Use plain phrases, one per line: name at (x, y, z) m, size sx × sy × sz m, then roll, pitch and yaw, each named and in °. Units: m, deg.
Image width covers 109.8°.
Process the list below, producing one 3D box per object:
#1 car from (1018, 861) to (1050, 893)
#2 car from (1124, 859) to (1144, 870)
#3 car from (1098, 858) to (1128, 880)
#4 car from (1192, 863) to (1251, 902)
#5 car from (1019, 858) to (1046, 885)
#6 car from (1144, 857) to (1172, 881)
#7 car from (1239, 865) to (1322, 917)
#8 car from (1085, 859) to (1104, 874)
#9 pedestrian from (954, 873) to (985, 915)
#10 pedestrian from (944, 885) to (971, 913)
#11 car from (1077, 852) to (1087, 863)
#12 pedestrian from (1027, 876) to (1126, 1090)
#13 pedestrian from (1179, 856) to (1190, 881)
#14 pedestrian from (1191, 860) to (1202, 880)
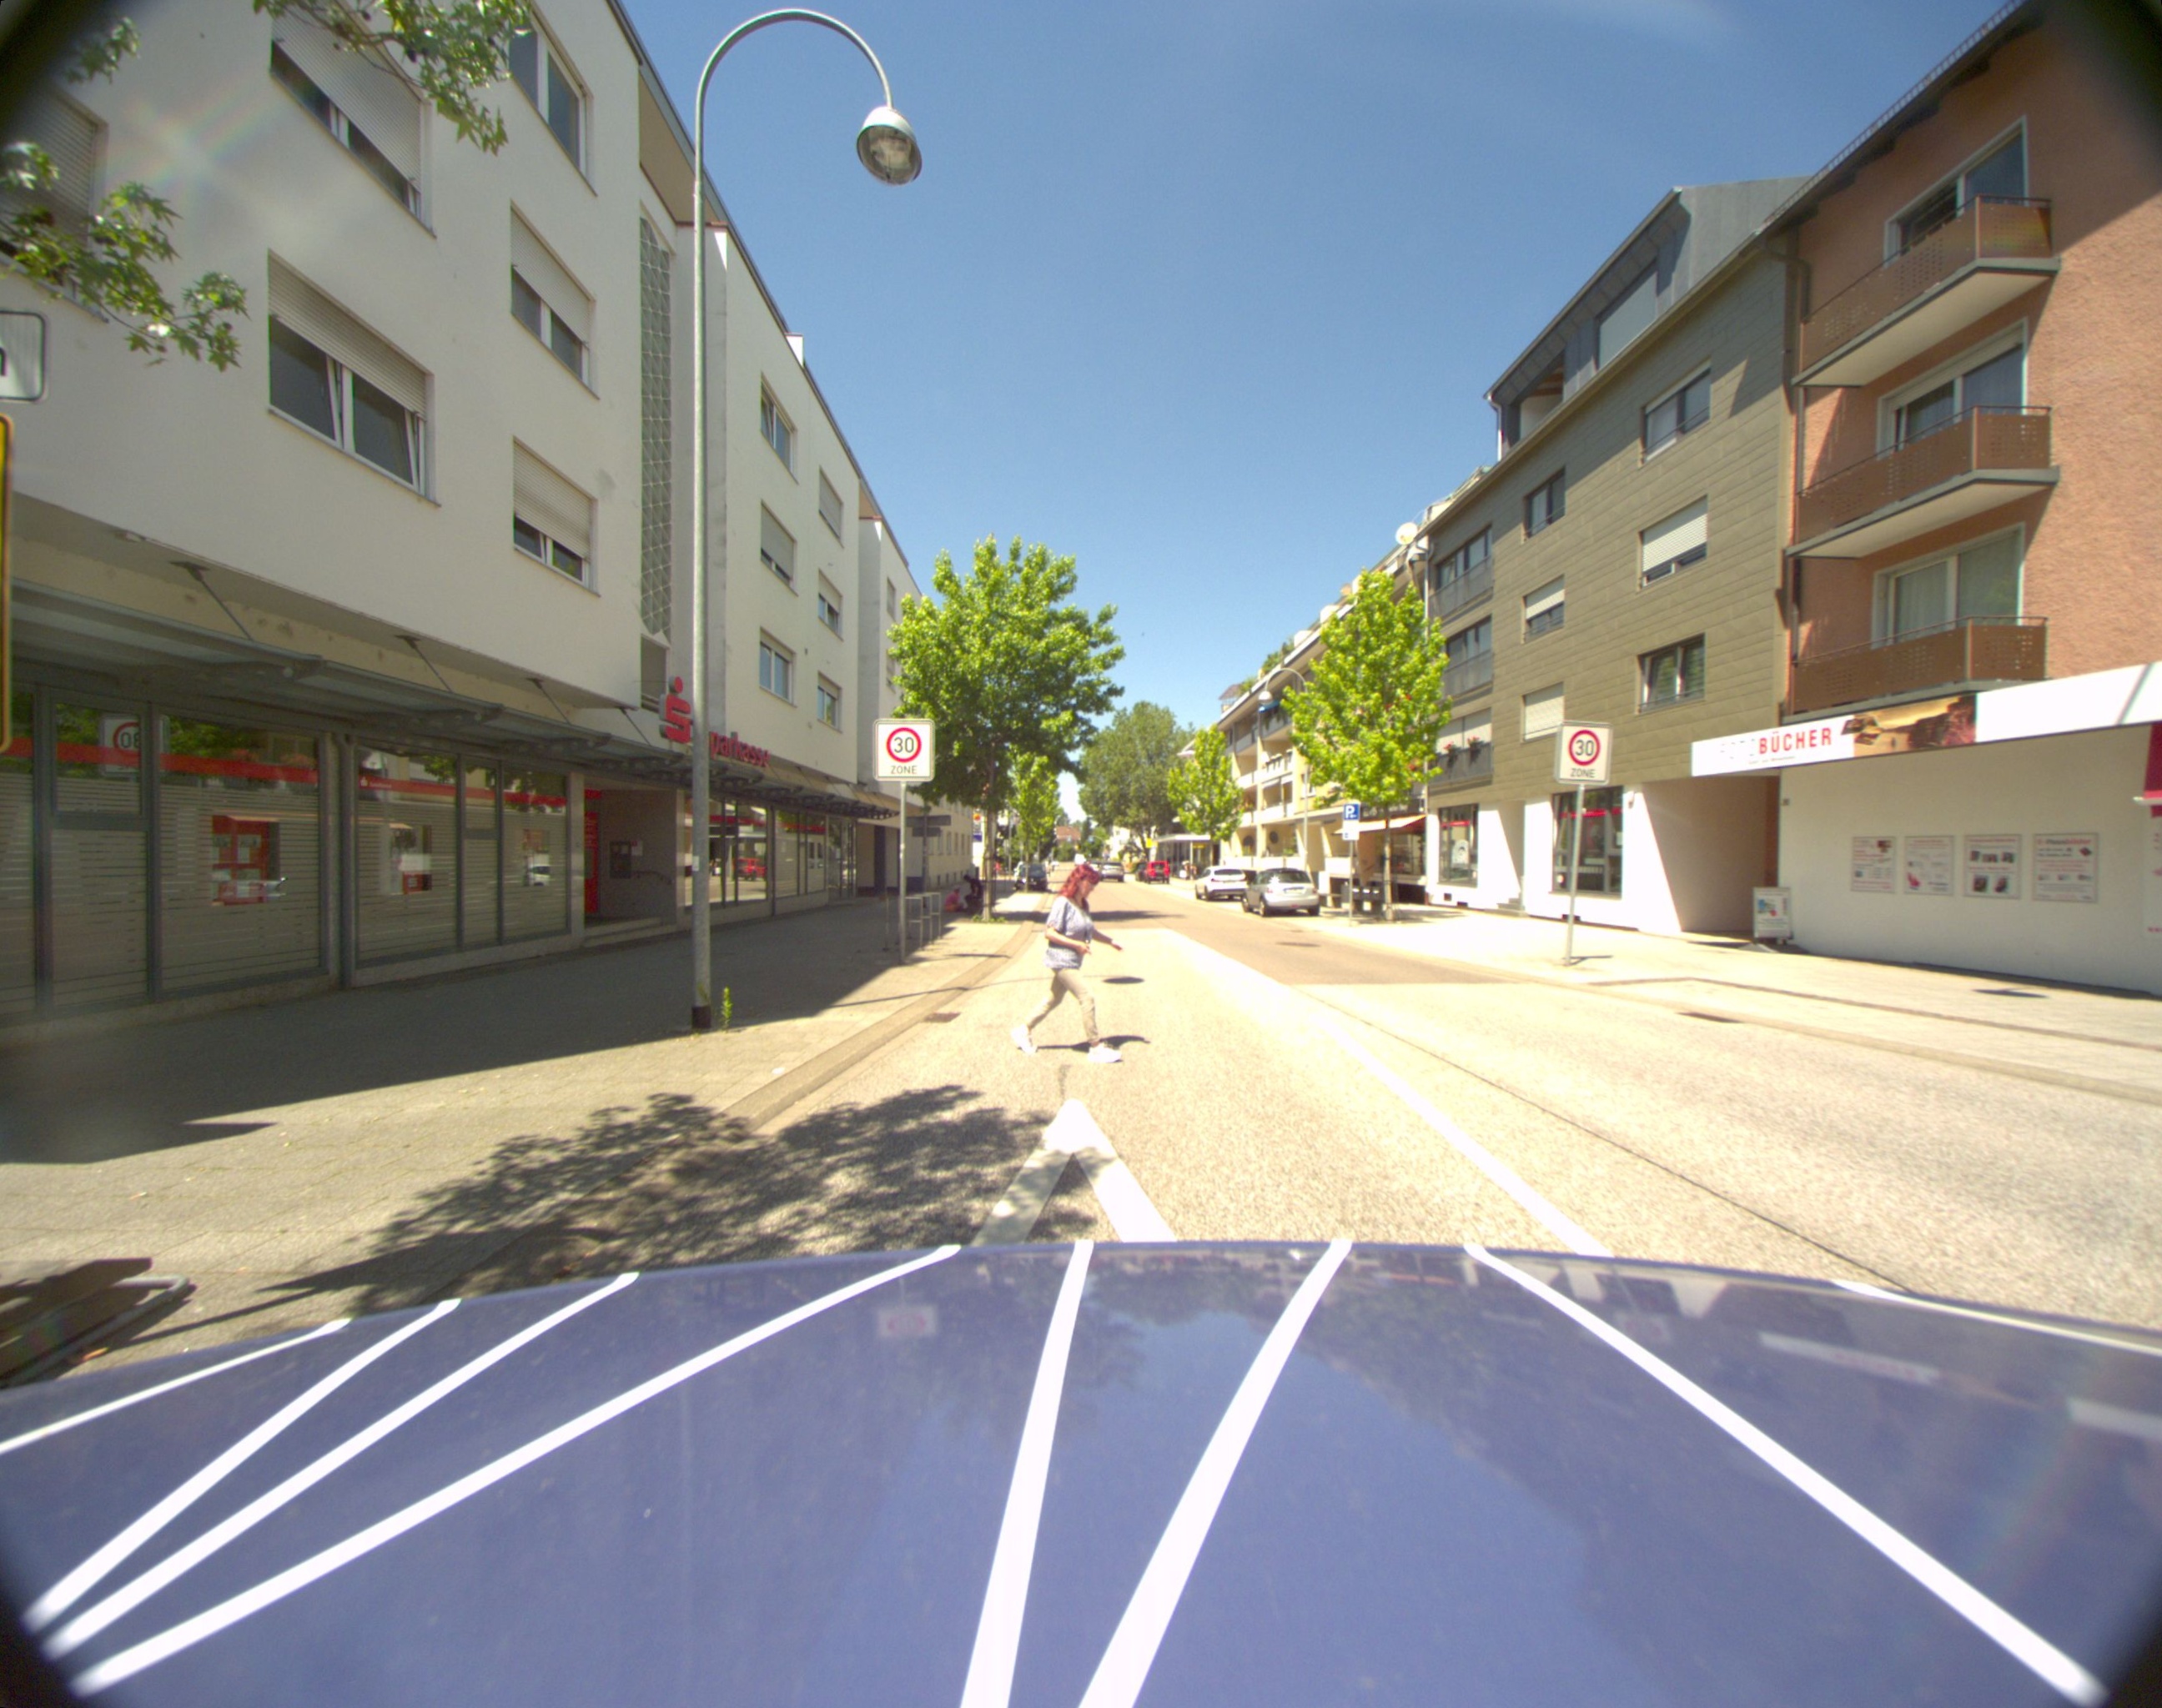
car at (-2.810, 1.323, 44.968) m, size 1.693 × 1.711 × 3.998 m, roll 3°, pitch 0°, yaw -4°
car at (6.877, 1.404, 99.163) m, size 1.999 × 1.411 × 3.998 m, roll 0°, pitch 0°, yaw -6°
car at (2.618, 1.189, 62.946) m, size 1.906 × 1.743 × 4.755 m, roll 1°, pitch 0°, yaw -4°
car at (6.232, 1.227, 34.157) m, size 1.699 × 1.582 × 4.299 m, roll -3°, pitch 0°, yaw -1°
car at (-3.240, 1.153, 50.684) m, size 1.693 × 1.712 × 4.132 m, roll 0°, pitch 0°, yaw -4°
car at (5.806, 1.114, 57.644) m, size 1.645 × 1.652 × 3.370 m, roll -2°, pitch 0°, yaw -1°
car at (6.109, 1.100, 23.647) m, size 1.626 × 1.465 × 3.548 m, roll 0°, pitch 0°, yaw -1°
car at (1.515, 1.446, 86.767) m, size 1.776 × 1.623 × 4.298 m, roll 0°, pitch 0°, yaw -4°
pedestrian at (-3.400, 1.214, 23.153) m, size 0.761 × 1.233 × 0.538 m, roll 1°, pitch 0°, yaw 13°
pedestrian at (-3.913, 1.409, 24.038) m, size 0.678 × 0.847 × 0.538 m, roll 1°, pitch 0°, yaw 13°
car at (0.127, 0.801, 175.237) m, size 2.232 × 2.452 × 5.248 m, roll 0°, pitch 0°, yaw -1°
pedestrian at (-0.030, 0.986, 6.045) m, size 0.734 × 1.600 × 0.559 m, roll 1°, pitch 0°, yaw 1°
pedestrian at (7.720, 1.080, 56.680) m, size 0.667 × 1.794 × 0.686 m, roll 1°, pitch 0°, yaw 14°
pedestrian at (8.675, 1.223, 57.088) m, size 0.778 × 1.490 × 0.698 m, roll 1°, pitch 0°, yaw 10°
